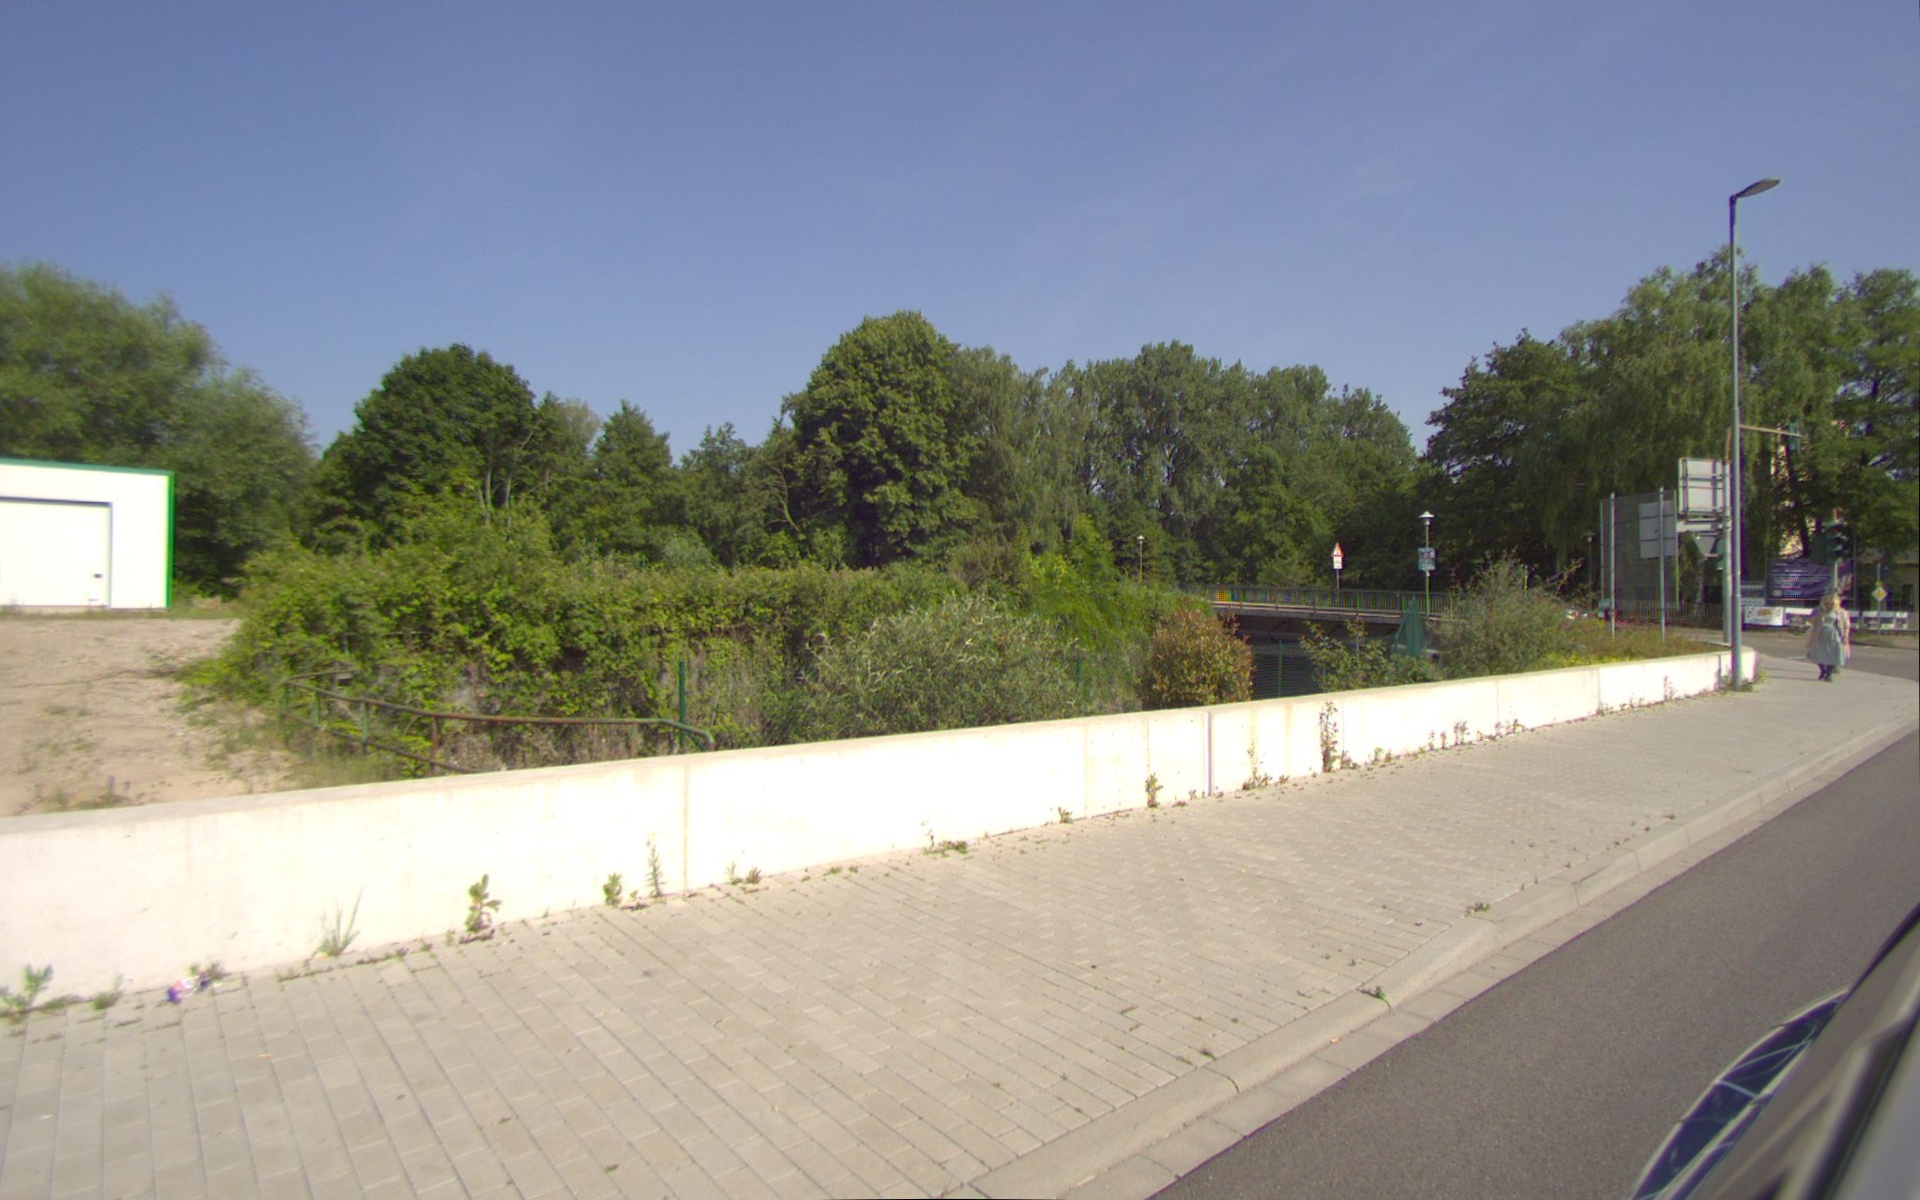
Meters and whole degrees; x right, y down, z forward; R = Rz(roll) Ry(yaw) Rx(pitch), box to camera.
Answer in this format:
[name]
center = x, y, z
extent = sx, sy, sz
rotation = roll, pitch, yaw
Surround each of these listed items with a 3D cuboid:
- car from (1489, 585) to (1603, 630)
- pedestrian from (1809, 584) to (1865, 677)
[car]
center = 22.841, 0.241, 39.617
extent = 1.633, 1.537, 4.092
rotation = 1, 2, -8
[pedestrian]
center = 16.314, 0.544, 18.839
extent = 0.708, 1.692, 0.585
rotation = 0, 0, 35
